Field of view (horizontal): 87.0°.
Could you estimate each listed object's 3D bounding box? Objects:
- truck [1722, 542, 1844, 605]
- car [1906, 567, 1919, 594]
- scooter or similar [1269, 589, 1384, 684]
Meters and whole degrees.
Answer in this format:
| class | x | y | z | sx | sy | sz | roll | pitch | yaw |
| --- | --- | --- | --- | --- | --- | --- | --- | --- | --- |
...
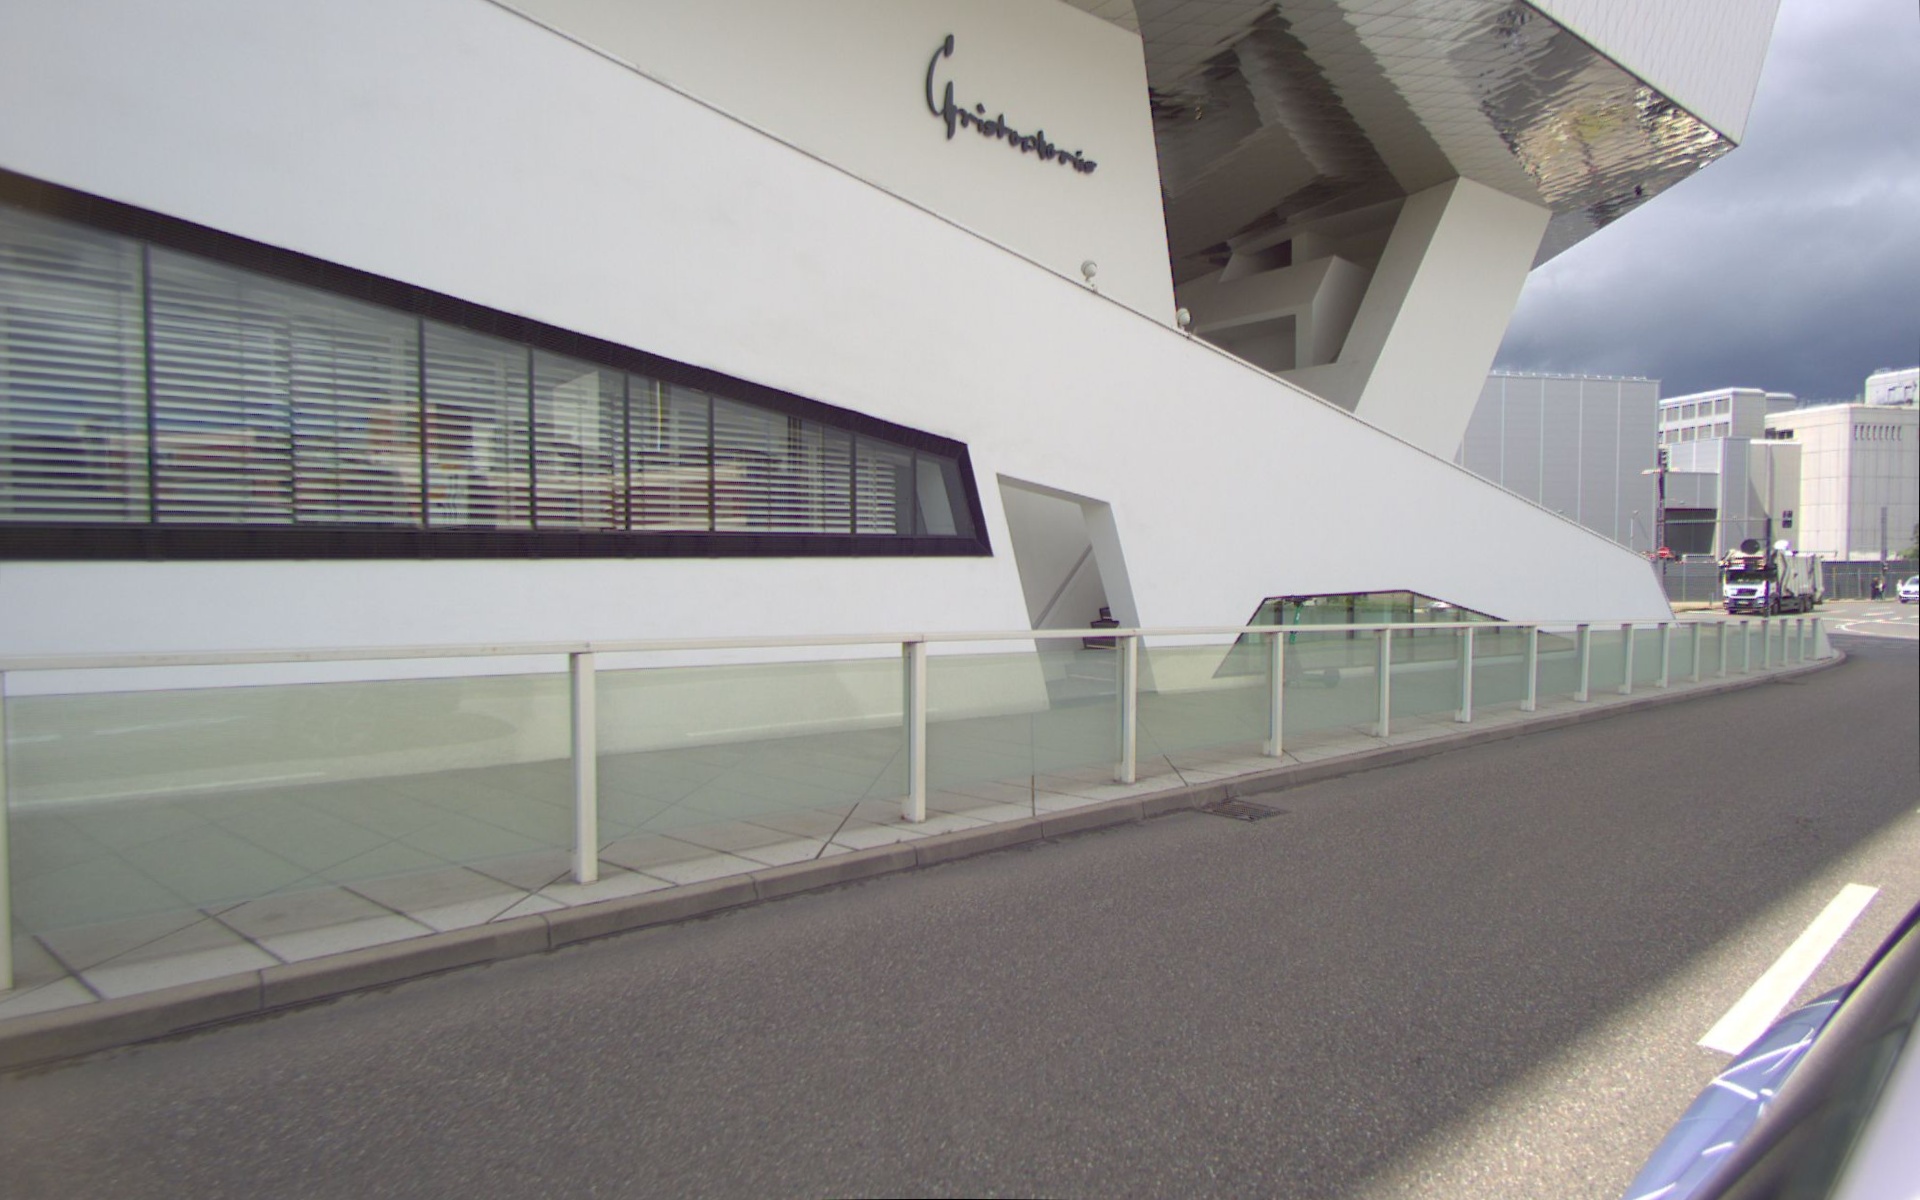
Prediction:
| class | x | y | z | sx | sy | sz | roll | pitch | yaw |
| --- | --- | --- | --- | --- | --- | --- | --- | --- | --- |
| truck | 51.951 | -1.638 | 63.758 | 10.545 | 3.736 | 2.847 | 0 | 2 | -33 |
| car | 71.312 | -1.378 | 73.242 | 5.194 | 1.934 | 2.169 | 0 | 2 | -23 |
| scooter or similar | 5.269 | 0.480 | 14.505 | 1.919 | 1.258 | 0.707 | -1 | 2 | -41 |
